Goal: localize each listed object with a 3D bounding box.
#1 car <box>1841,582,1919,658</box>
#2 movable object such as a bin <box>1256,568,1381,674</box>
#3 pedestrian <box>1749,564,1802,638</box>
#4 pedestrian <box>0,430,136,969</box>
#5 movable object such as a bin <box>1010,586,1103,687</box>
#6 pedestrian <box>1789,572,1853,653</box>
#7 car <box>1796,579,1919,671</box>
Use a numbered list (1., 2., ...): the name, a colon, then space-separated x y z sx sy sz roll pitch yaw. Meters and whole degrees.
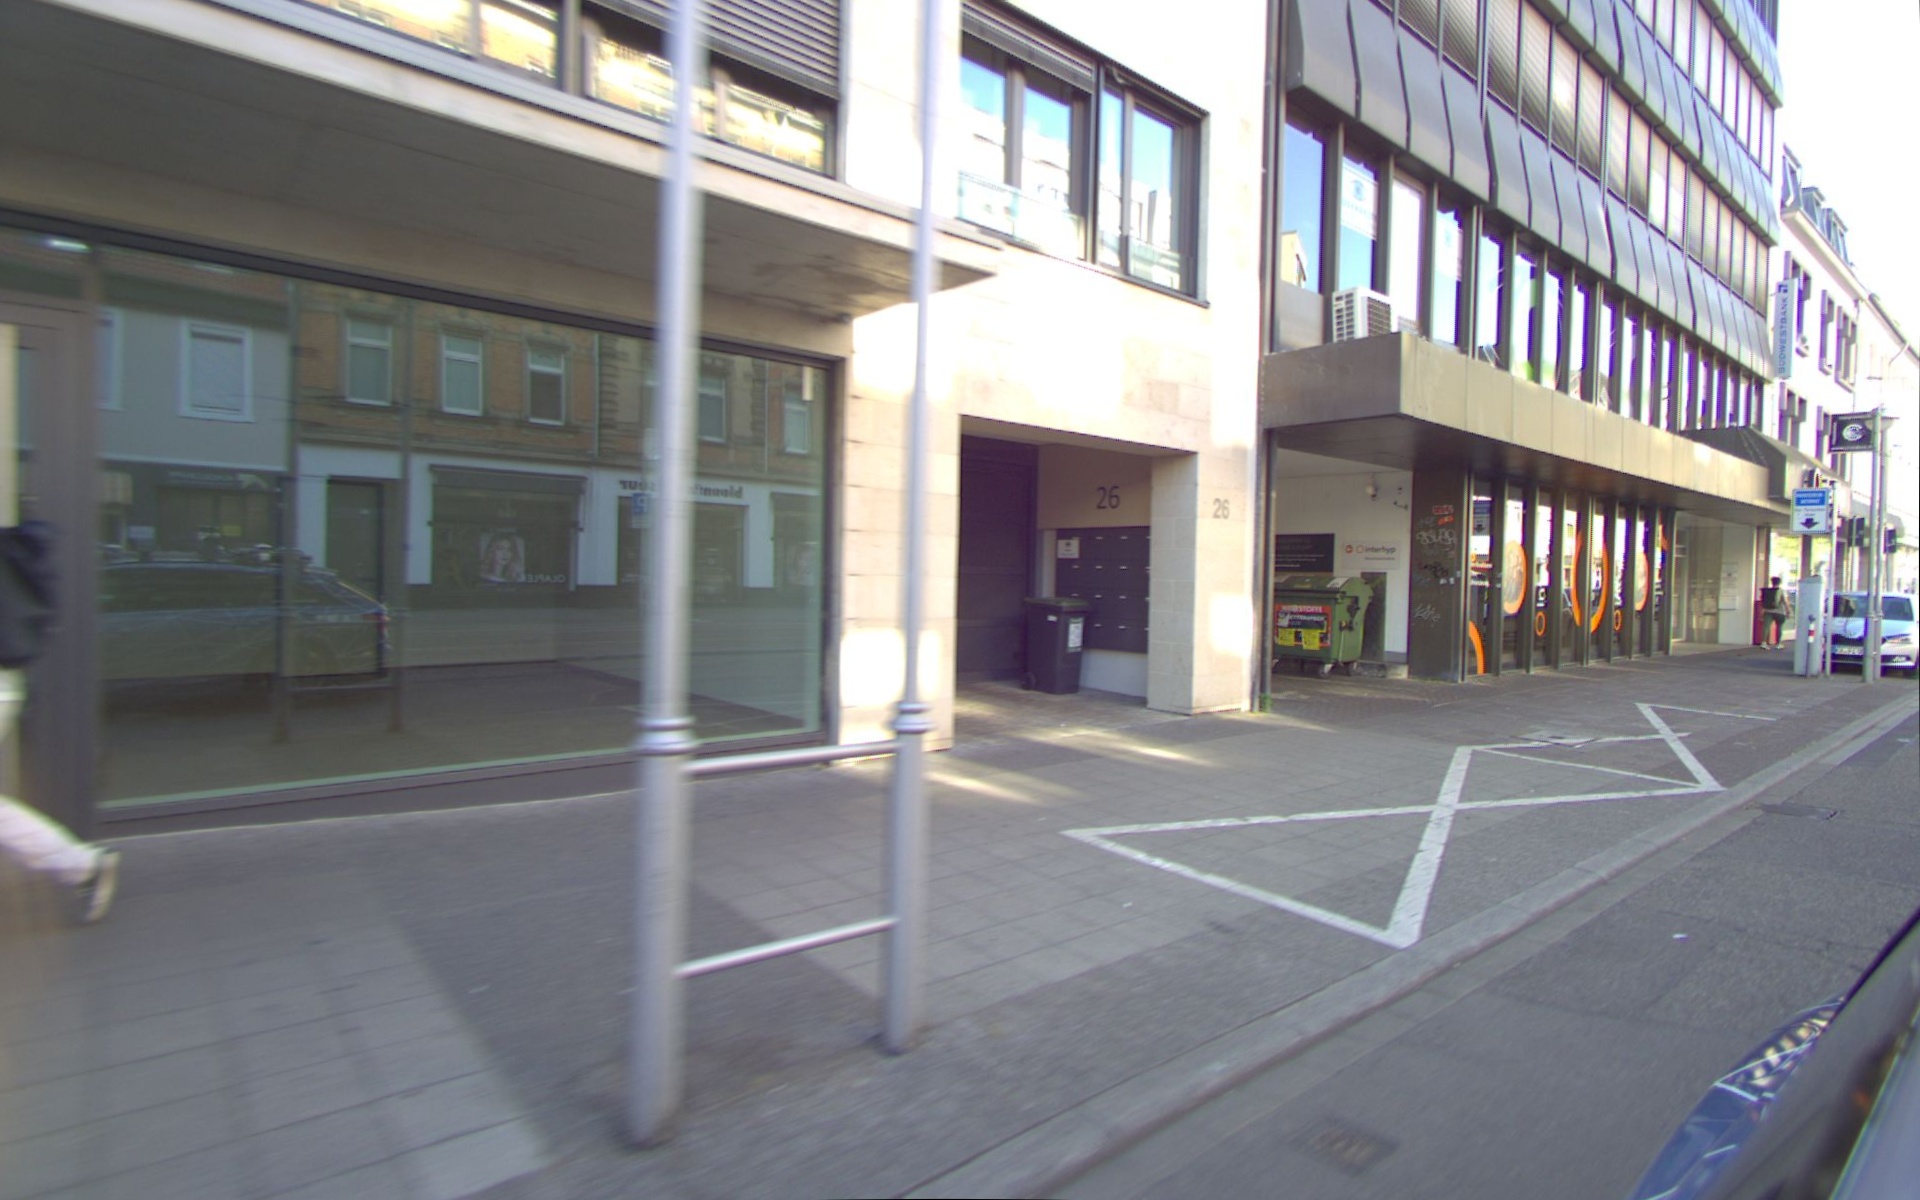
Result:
1. car: 20.770 0.400 21.882 4.225 1.480 1.853 -1 3 -39
2. movable object such as a bin: 5.269 0.265 14.915 1.020 1.446 1.415 -1 2 -41
3. pedestrian: 19.918 0.012 24.720 1.013 1.774 0.781 0 2 -40
4. pedestrian: -3.355 0.311 3.363 0.938 1.735 0.557 0 3 -42
5. movable object such as a bin: 1.085 0.387 11.423 0.747 1.069 0.710 0 2 -41
6. pedestrian: 20.586 0.278 24.197 0.981 1.865 0.925 0 3 -40
7. car: 17.052 0.393 18.720 4.221 1.480 1.749 -1 3 -41
